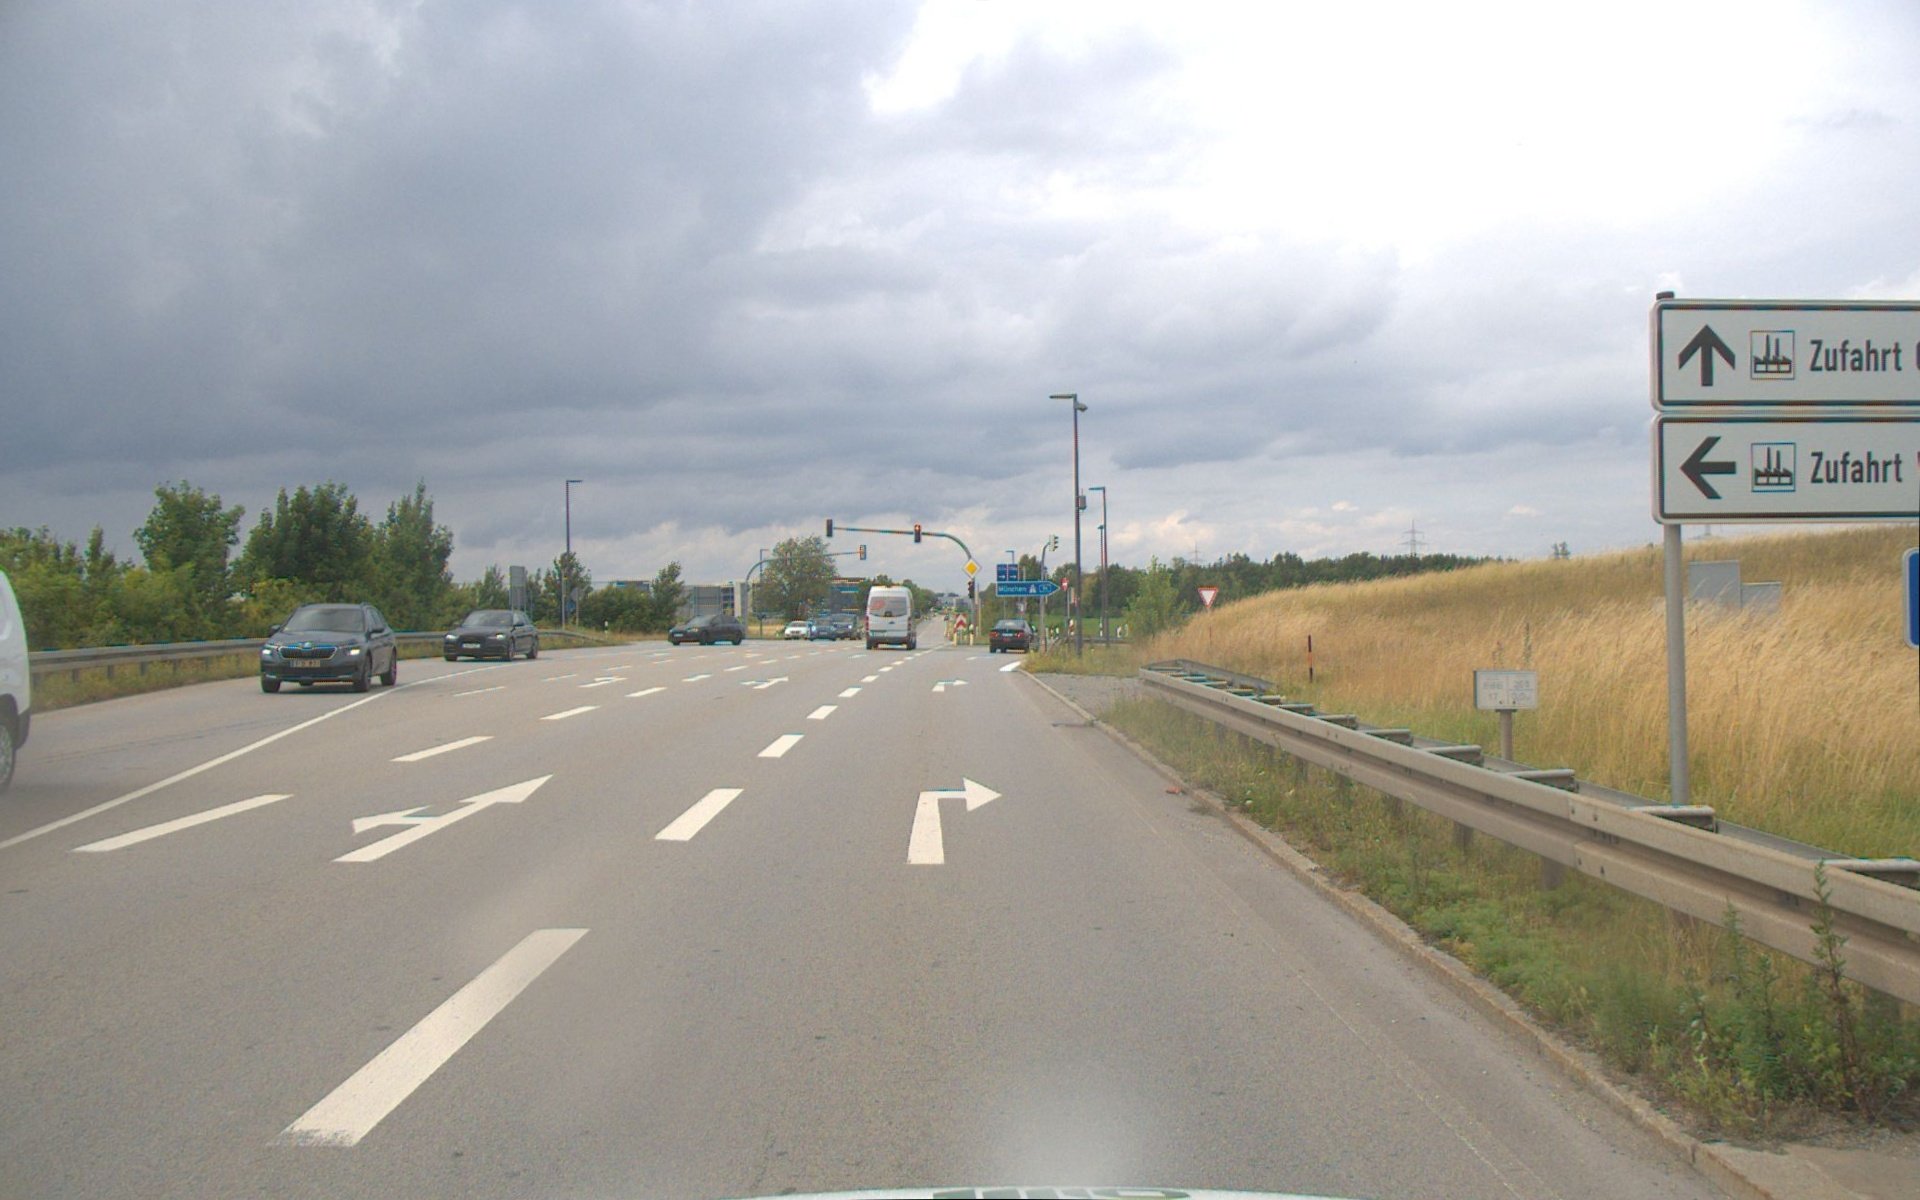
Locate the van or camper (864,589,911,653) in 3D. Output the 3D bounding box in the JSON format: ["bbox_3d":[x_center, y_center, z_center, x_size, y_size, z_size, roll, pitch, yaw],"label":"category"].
[{"bbox_3d":[-3.049,0.870,70.241,1.838,2.626,3.999,1,-1,-1],"label":"van or camper"}]

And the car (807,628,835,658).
[{"bbox_3d":[-9.100,2.791,107.961,1.607,1.884,3.742,0,-1,-8],"label":"car"}]

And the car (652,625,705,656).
[{"bbox_3d":[-13.452,1.930,79.232,1.806,1.450,3.908,-1,-1,0],"label":"car"}]

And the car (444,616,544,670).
[{"bbox_3d":[-13.502,1.211,48.223,1.772,1.392,4.783,-1,0,-3],"label":"car"}]

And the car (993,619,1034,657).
[{"bbox_3d":[2.207,1.532,67.639,1.486,1.511,3.617,-1,0,5],"label":"car"}]

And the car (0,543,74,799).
[{"bbox_3d":[-7.926,0.511,11.120,1.917,1.907,4.811,1,-1,-9],"label":"car"}]

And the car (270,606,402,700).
[{"bbox_3d":[-11.201,0.919,29.906,1.554,1.585,4.134,1,-1,-11],"label":"car"}]

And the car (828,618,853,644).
[{"bbox_3d":[-8.935,2.276,123.881,1.604,1.884,3.748,-1,0,0],"label":"car"}]

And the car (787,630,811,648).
[{"bbox_3d":[-12.444,3.017,127.904,1.450,1.305,3.533,-1,0,0],"label":"car"}]
